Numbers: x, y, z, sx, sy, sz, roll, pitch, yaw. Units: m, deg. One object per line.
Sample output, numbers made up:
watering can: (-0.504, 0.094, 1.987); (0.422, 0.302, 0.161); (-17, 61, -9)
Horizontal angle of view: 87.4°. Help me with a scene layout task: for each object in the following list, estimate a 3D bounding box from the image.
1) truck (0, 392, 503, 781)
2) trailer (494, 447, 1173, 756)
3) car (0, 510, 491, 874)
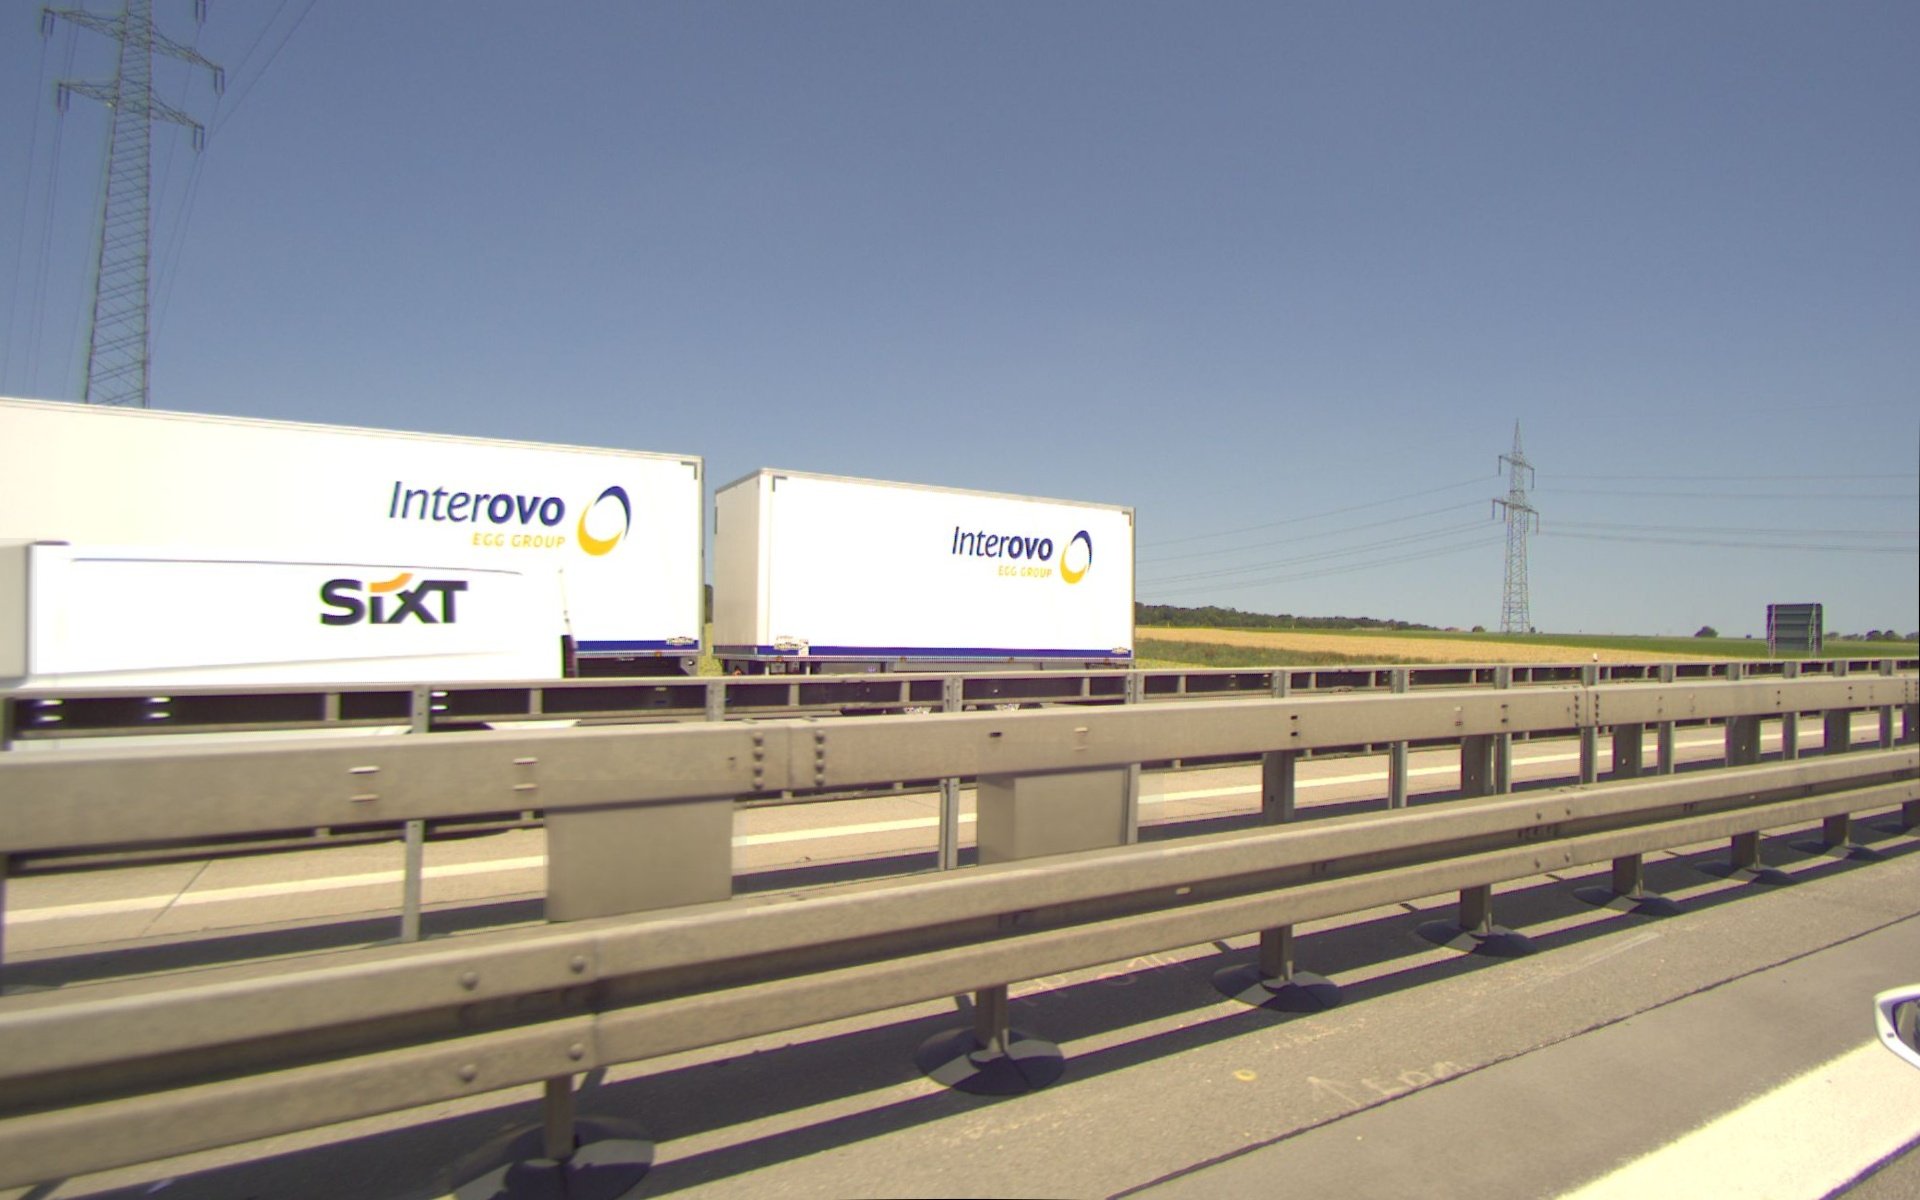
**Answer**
truck: (-9.959, -0.121, 12.532); (7.444, 4.144, 2.807); (2, 0, -31)
trailer: (-1.633, 0.165, 17.509); (11.530, 4.100, 2.819); (2, 0, -31)
car: (-5.692, 0.561, 6.577); (4.594, 2.036, 1.975); (1, -3, -30)
